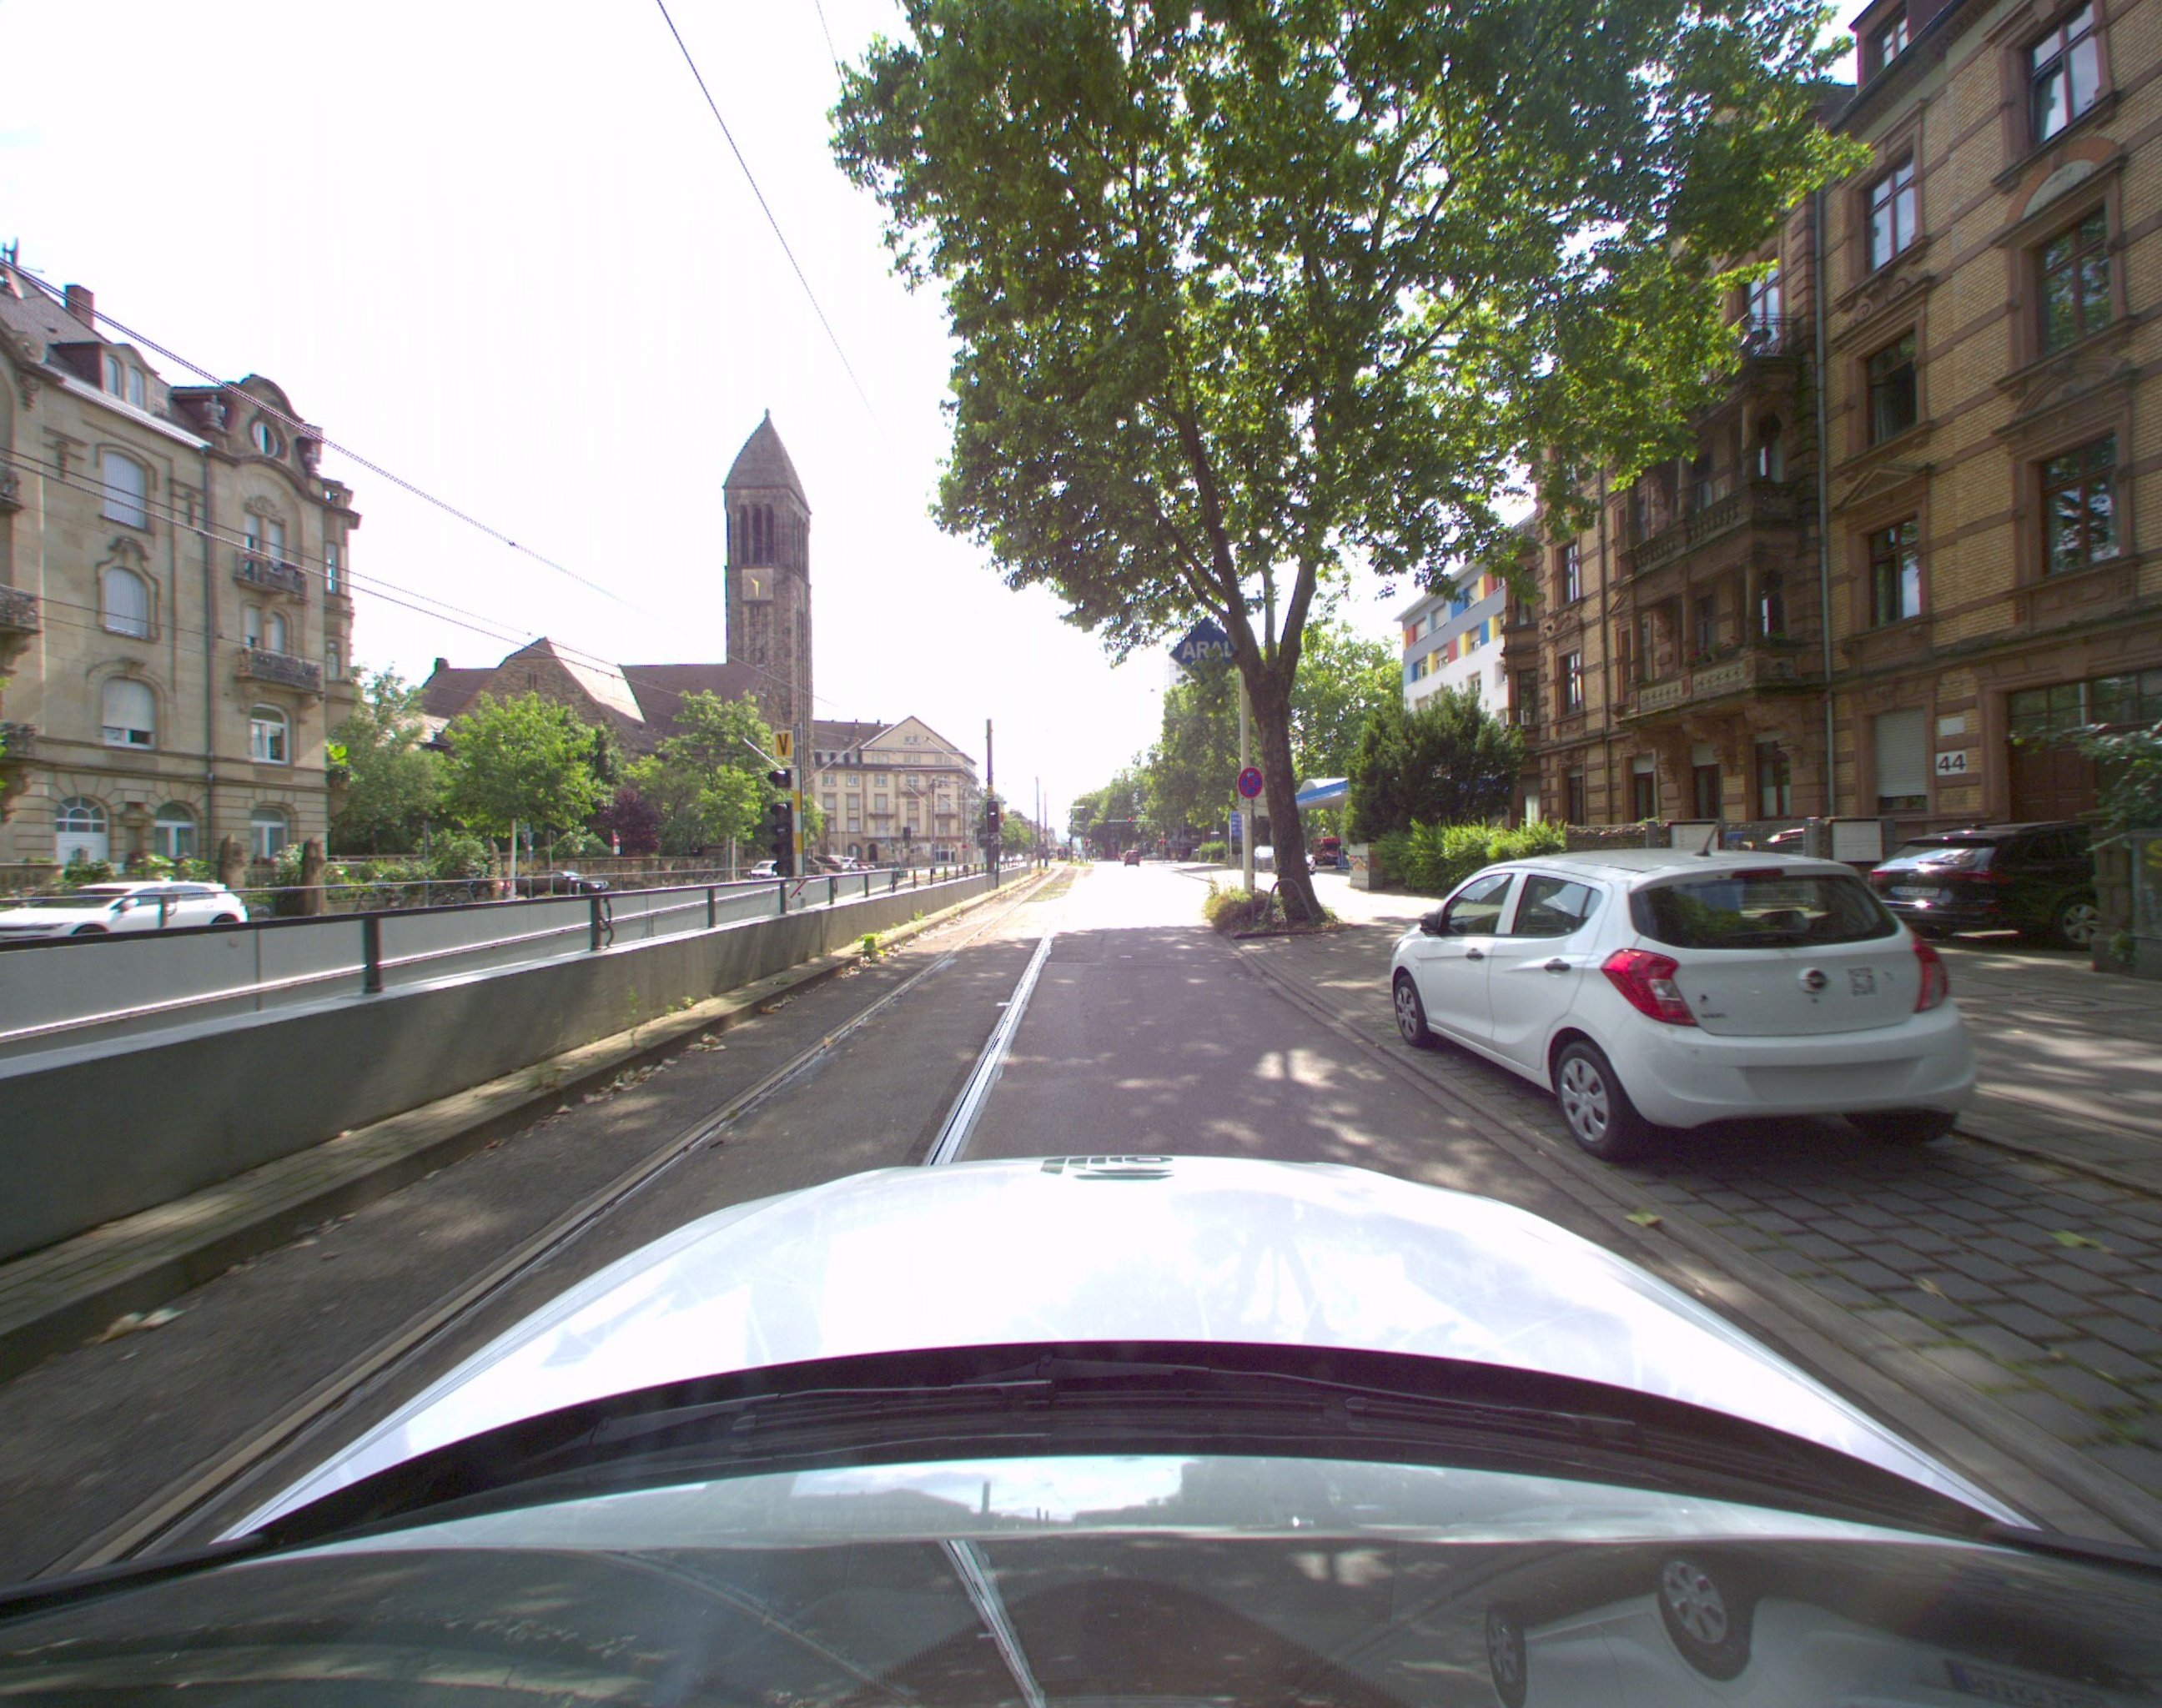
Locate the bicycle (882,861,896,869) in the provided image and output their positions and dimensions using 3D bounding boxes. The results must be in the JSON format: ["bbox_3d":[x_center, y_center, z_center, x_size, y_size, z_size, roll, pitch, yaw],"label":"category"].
[{"bbox_3d":[-28.677,1.697,121.810,1.985,1.114,0.482,-1,0,-36],"label":"bicycle"}]

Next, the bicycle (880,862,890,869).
[{"bbox_3d":[-29.879,1.711,124.017,0.744,1.053,2.542,-1,0,-28],"label":"bicycle"}]

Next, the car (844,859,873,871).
[{"bbox_3d":[-33.118,1.588,121.287,3.948,1.674,2.013,-1,0,33],"label":"car"}]

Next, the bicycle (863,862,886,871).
[{"bbox_3d":[-31.068,1.835,122.350,3.284,1.253,1.003,-1,0,17],"label":"bicycle"}]

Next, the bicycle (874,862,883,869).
[{"bbox_3d":[-30.811,1.713,123.988,0.744,1.053,2.343,-1,0,-28],"label":"bicycle"}]

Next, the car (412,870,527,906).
[{"bbox_3d":[-27.772,1.534,37.076,3.764,1.464,1.935,-1,0,3],"label":"car"}]

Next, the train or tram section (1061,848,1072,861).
[{"bbox_3d":[-3.748,0.231,215.206,2.232,3.331,12.974,-1,0,1],"label":"train or tram section"}]

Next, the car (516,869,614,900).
[{"bbox_3d":[-27.069,1.579,42.804,3.949,1.464,1.724,-2,0,0],"label":"car"}]

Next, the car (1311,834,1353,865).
[{"bbox_3d":[22.397,-0.386,73.010,2.103,2.582,6.023,-1,0,2],"label":"car"}]

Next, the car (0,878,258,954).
[{"bbox_3d":[-21.059,1.273,17.811,1.746,1.328,4.310,-2,0,-1],"label":"car"}]

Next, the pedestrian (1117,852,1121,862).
[{"bbox_3d":[6.796,0.472,144.331,0.657,1.784,0.660,-1,0,1],"label":"pedestrian"}]

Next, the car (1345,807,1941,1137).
[{"bbox_3d":[3.285,0.538,5.779,1.548,1.485,3.858,-3,0,0],"label":"car"}]

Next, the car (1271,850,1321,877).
[{"bbox_3d":[12.089,0.523,46.085,1.800,1.455,4.001,-1,0,0],"label":"car"}]

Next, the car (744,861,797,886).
[{"bbox_3d":[-20.868,1.277,54.982,1.925,1.504,4.412,-1,0,-1],"label":"car"}]

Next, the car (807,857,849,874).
[{"bbox_3d":[-26.985,1.232,86.802,3.860,1.748,1.893,-1,0,-3],"label":"car"}]

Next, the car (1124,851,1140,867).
[{"bbox_3d":[5.913,0.565,94.455,1.744,1.809,3.475,0,0,1],"label":"car"}]

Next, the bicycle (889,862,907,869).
[{"bbox_3d":[-27.641,1.703,123.221,2.572,1.053,0.676,-1,0,-27],"label":"bicycle"}]

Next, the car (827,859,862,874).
[{"bbox_3d":[-26.163,1.369,90.080,3.256,1.502,1.854,-1,0,-1],"label":"car"}]

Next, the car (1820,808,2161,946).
[{"bbox_3d":[12.311,0.216,10.241,4.220,1.469,1.942,-3,0,0],"label":"car"}]

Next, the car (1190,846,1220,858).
[{"bbox_3d":[20.324,-0.358,133.292,4.770,1.860,1.979,-2,0,-34],"label":"car"}]
